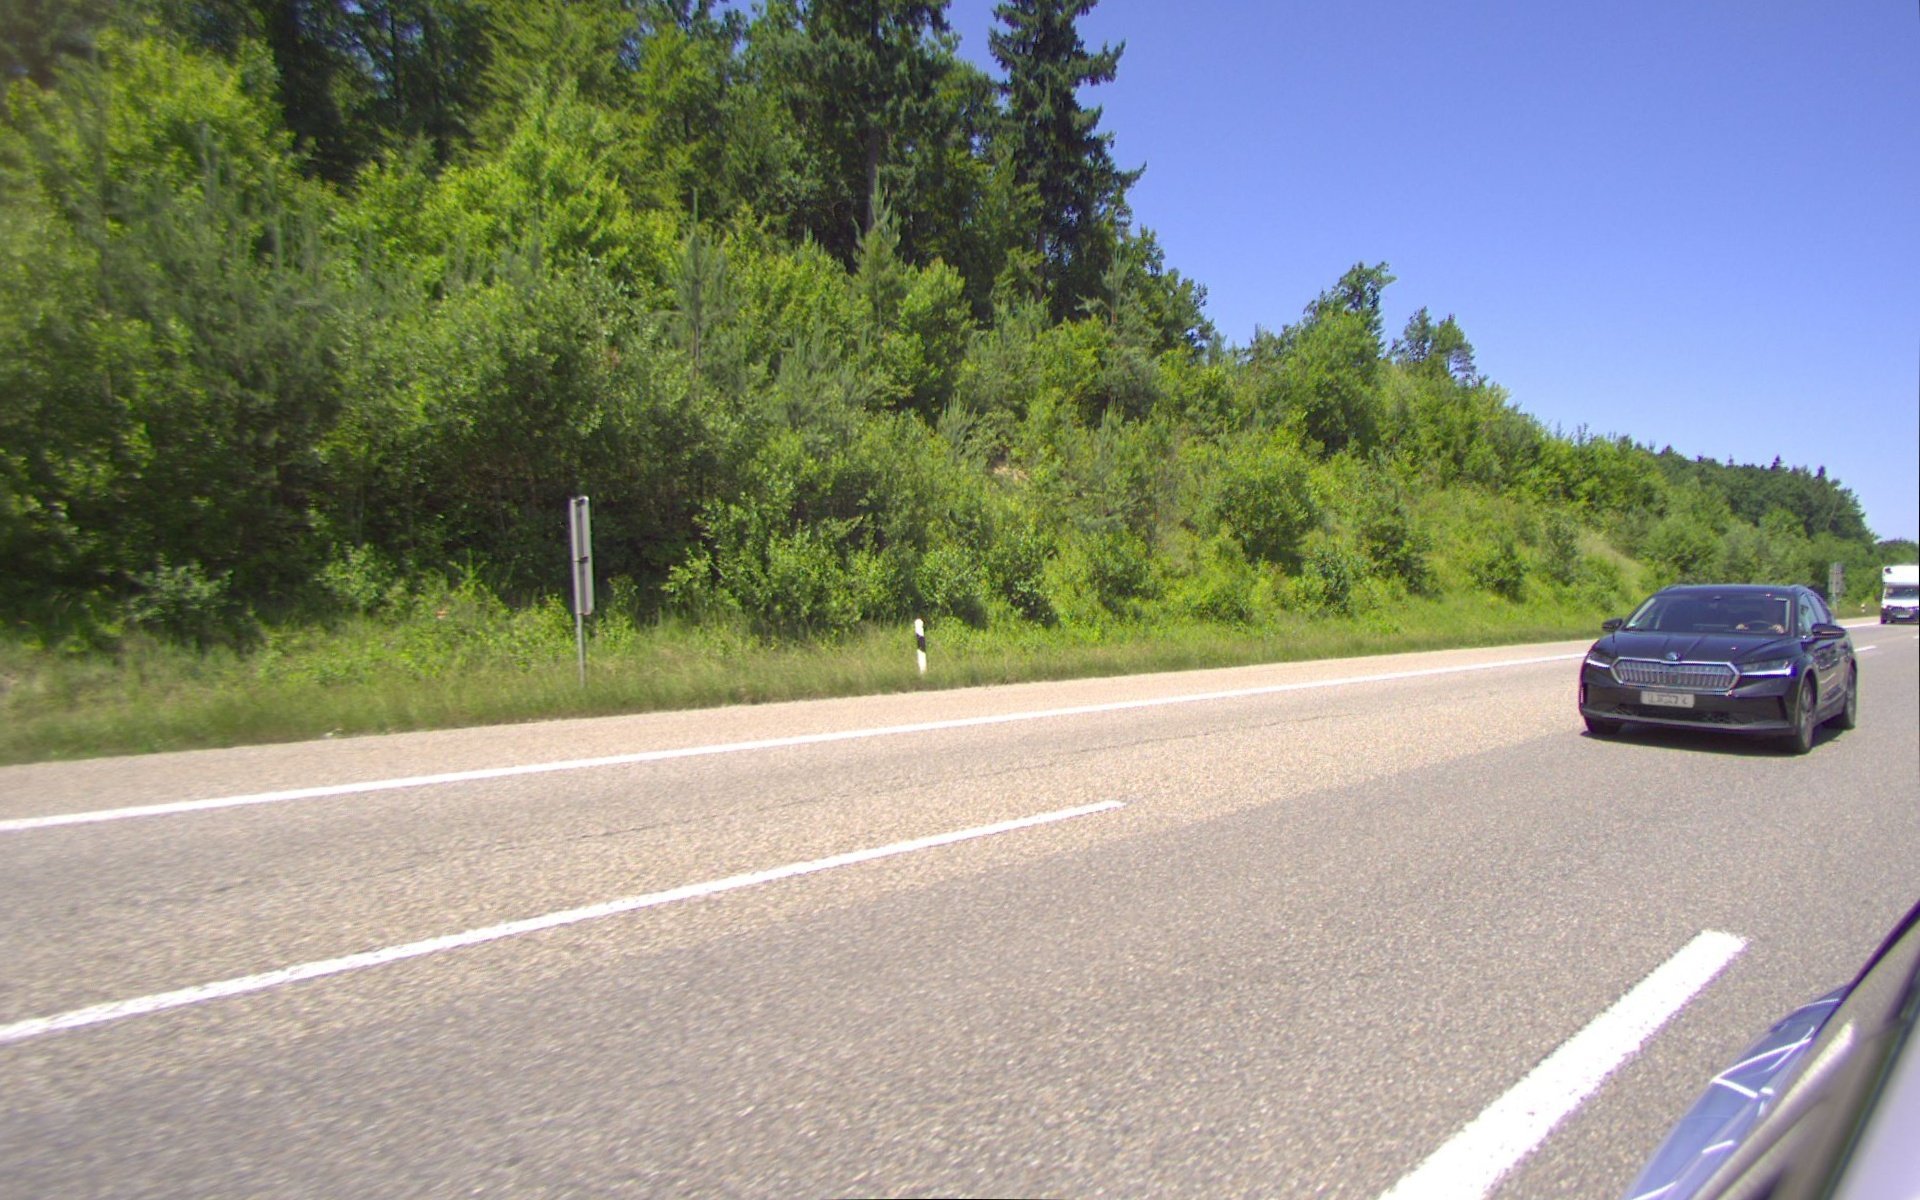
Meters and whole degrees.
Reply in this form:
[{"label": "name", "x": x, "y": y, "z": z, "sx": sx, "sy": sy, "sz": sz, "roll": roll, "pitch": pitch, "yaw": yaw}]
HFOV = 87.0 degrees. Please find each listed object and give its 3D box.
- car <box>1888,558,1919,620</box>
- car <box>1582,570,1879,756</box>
[{"label": "car", "x": 55.187, "y": -0.665, "z": 57.947, "sx": 7.492, "sy": 3.378, "sz": 2.300, "roll": -1, "pitch": 1, "yaw": -42}, {"label": "car", "x": 8.628, "y": 0.505, "z": 11.179, "sx": 4.384, "sy": 1.639, "sz": 1.986, "roll": -1, "pitch": 1, "yaw": -44}]
